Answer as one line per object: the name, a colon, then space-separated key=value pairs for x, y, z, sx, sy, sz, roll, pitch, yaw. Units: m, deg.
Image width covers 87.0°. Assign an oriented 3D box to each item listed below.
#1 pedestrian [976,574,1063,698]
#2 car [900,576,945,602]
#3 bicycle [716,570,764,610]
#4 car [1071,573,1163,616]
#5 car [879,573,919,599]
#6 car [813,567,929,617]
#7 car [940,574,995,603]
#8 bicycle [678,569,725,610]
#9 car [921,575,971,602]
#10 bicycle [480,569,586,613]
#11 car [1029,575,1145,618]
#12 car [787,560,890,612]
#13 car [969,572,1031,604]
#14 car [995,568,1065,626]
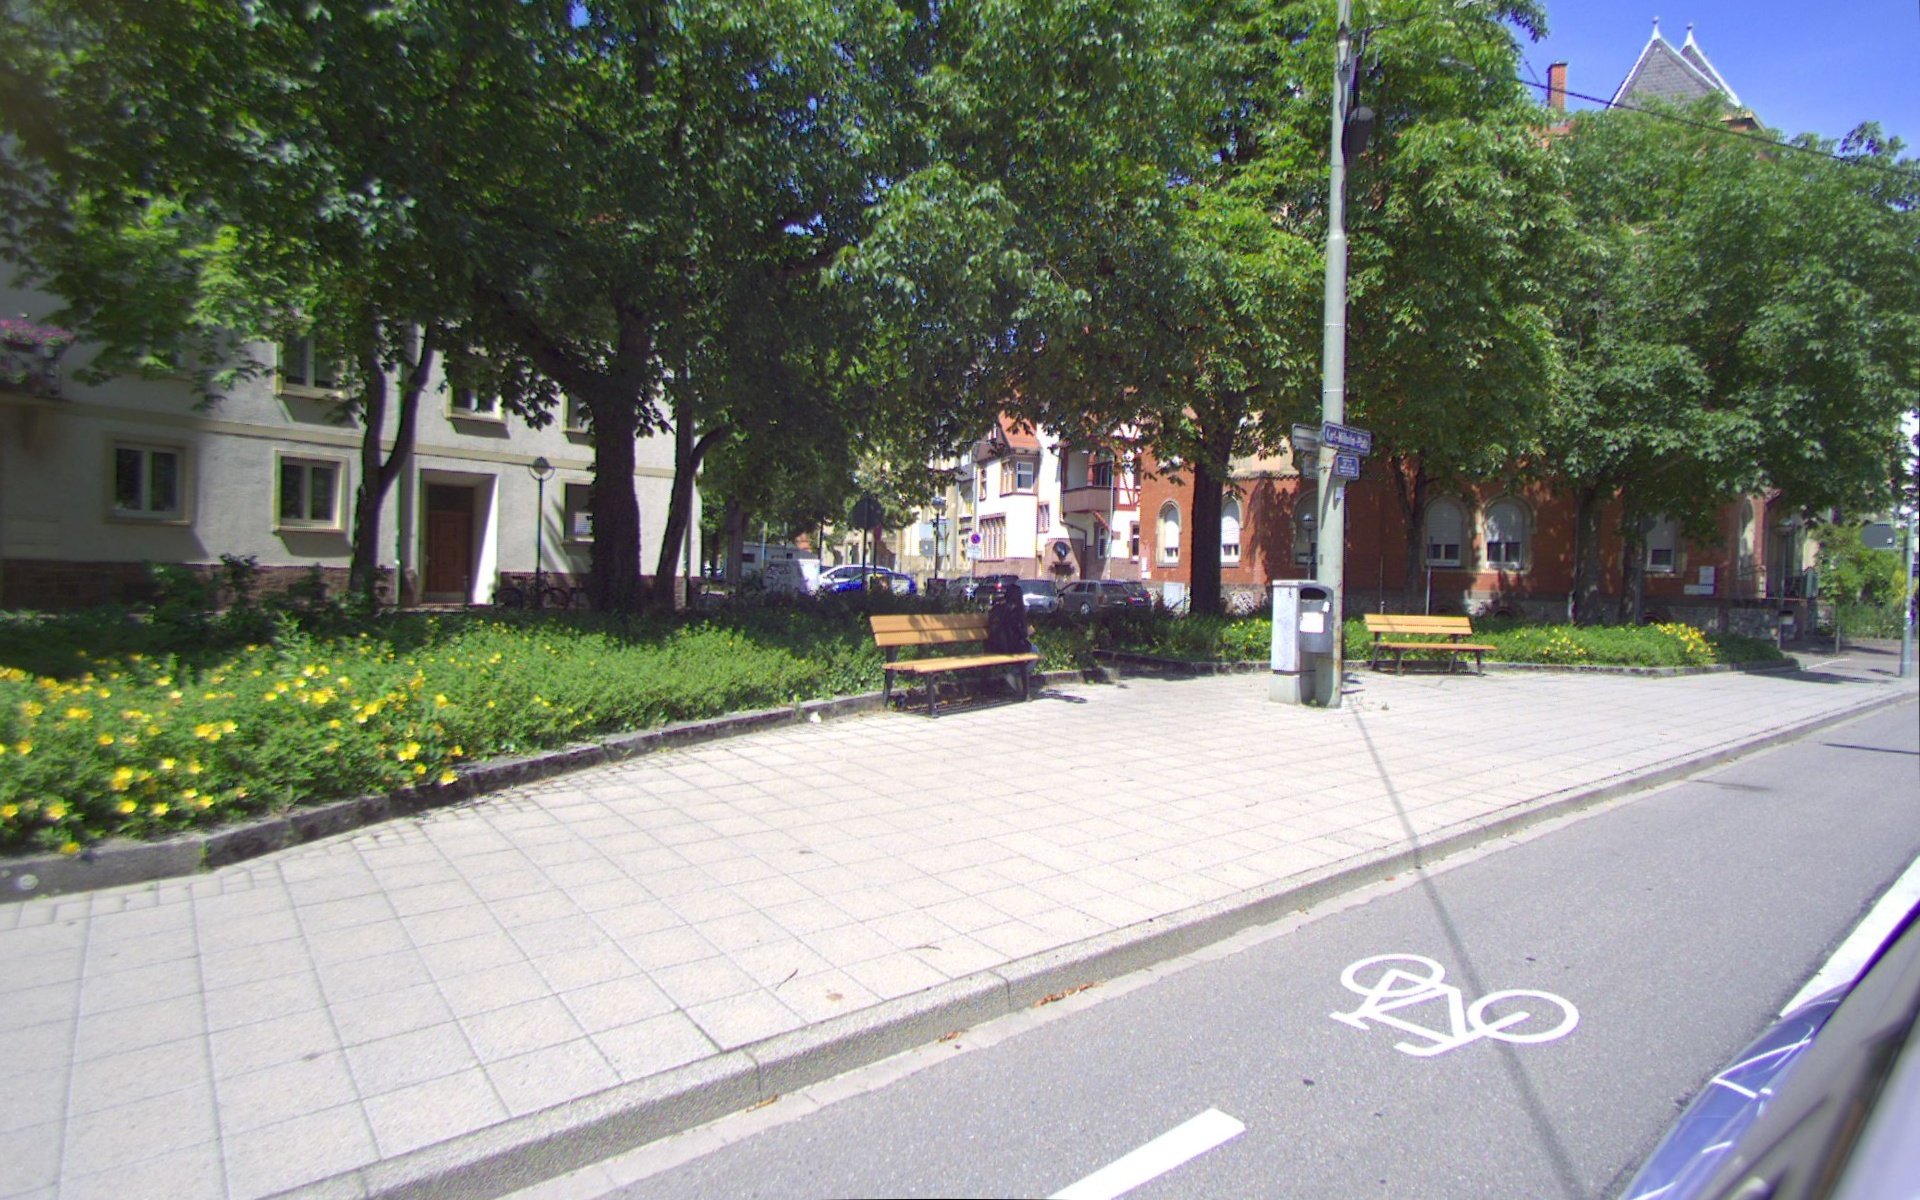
pedestrian: x=0.597 y=0.334 z=10.072 sx=0.562 sy=1.156 sz=0.718 roll=3 pitch=2 yaw=33
car: x=-2.569 y=-0.734 z=67.946 sx=1.897 sy=1.638 sz=4.318 roll=0 pitch=0 yaw=-19
bicycle: x=-5.870 y=-0.272 z=26.901 sx=0.736 sy=1.024 sz=2.273 roll=0 pitch=0 yaw=-26
car: x=6.273 y=-0.237 z=41.023 sx=1.897 sy=1.638 sz=4.318 roll=0 pitch=0 yaw=-19
car: x=-4.505 y=-1.014 z=74.459 sx=1.897 sy=1.897 sz=4.318 roll=0 pitch=0 yaw=-19
car: x=-3.546 y=-0.327 z=40.013 sx=4.219 sy=1.903 sz=1.942 roll=0 pitch=0 yaw=-18
car: x=0.377 y=-0.660 z=58.679 sx=1.897 sy=1.638 sz=4.318 roll=0 pitch=0 yaw=-19
bicycle: x=-6.777 y=-0.264 z=26.472 sx=0.736 sy=1.024 sz=2.273 roll=0 pitch=0 yaw=-26
car: x=-0.921 y=-0.697 z=63.250 sx=1.897 sy=1.638 sz=4.318 roll=0 pitch=0 yaw=-19
bicycle: x=-10.254 y=-0.226 z=24.373 sx=2.230 sy=1.024 sz=0.751 roll=-1 pitch=0 yaw=-41
car: x=4.624 y=-0.141 z=37.757 sx=1.898 sy=1.501 sz=5.044 roll=0 pitch=1 yaw=-25
car: x=-5.374 y=-0.634 z=44.826 sx=4.219 sy=2.219 sz=1.942 roll=0 pitch=0 yaw=-18
car: x=2.064 y=-0.625 z=54.073 sx=1.897 sy=1.638 sz=4.318 roll=0 pitch=0 yaw=-19
car: x=2.109 y=-0.095 z=29.589 sx=1.678 sy=1.525 sz=3.642 roll=2 pitch=1 yaw=9
